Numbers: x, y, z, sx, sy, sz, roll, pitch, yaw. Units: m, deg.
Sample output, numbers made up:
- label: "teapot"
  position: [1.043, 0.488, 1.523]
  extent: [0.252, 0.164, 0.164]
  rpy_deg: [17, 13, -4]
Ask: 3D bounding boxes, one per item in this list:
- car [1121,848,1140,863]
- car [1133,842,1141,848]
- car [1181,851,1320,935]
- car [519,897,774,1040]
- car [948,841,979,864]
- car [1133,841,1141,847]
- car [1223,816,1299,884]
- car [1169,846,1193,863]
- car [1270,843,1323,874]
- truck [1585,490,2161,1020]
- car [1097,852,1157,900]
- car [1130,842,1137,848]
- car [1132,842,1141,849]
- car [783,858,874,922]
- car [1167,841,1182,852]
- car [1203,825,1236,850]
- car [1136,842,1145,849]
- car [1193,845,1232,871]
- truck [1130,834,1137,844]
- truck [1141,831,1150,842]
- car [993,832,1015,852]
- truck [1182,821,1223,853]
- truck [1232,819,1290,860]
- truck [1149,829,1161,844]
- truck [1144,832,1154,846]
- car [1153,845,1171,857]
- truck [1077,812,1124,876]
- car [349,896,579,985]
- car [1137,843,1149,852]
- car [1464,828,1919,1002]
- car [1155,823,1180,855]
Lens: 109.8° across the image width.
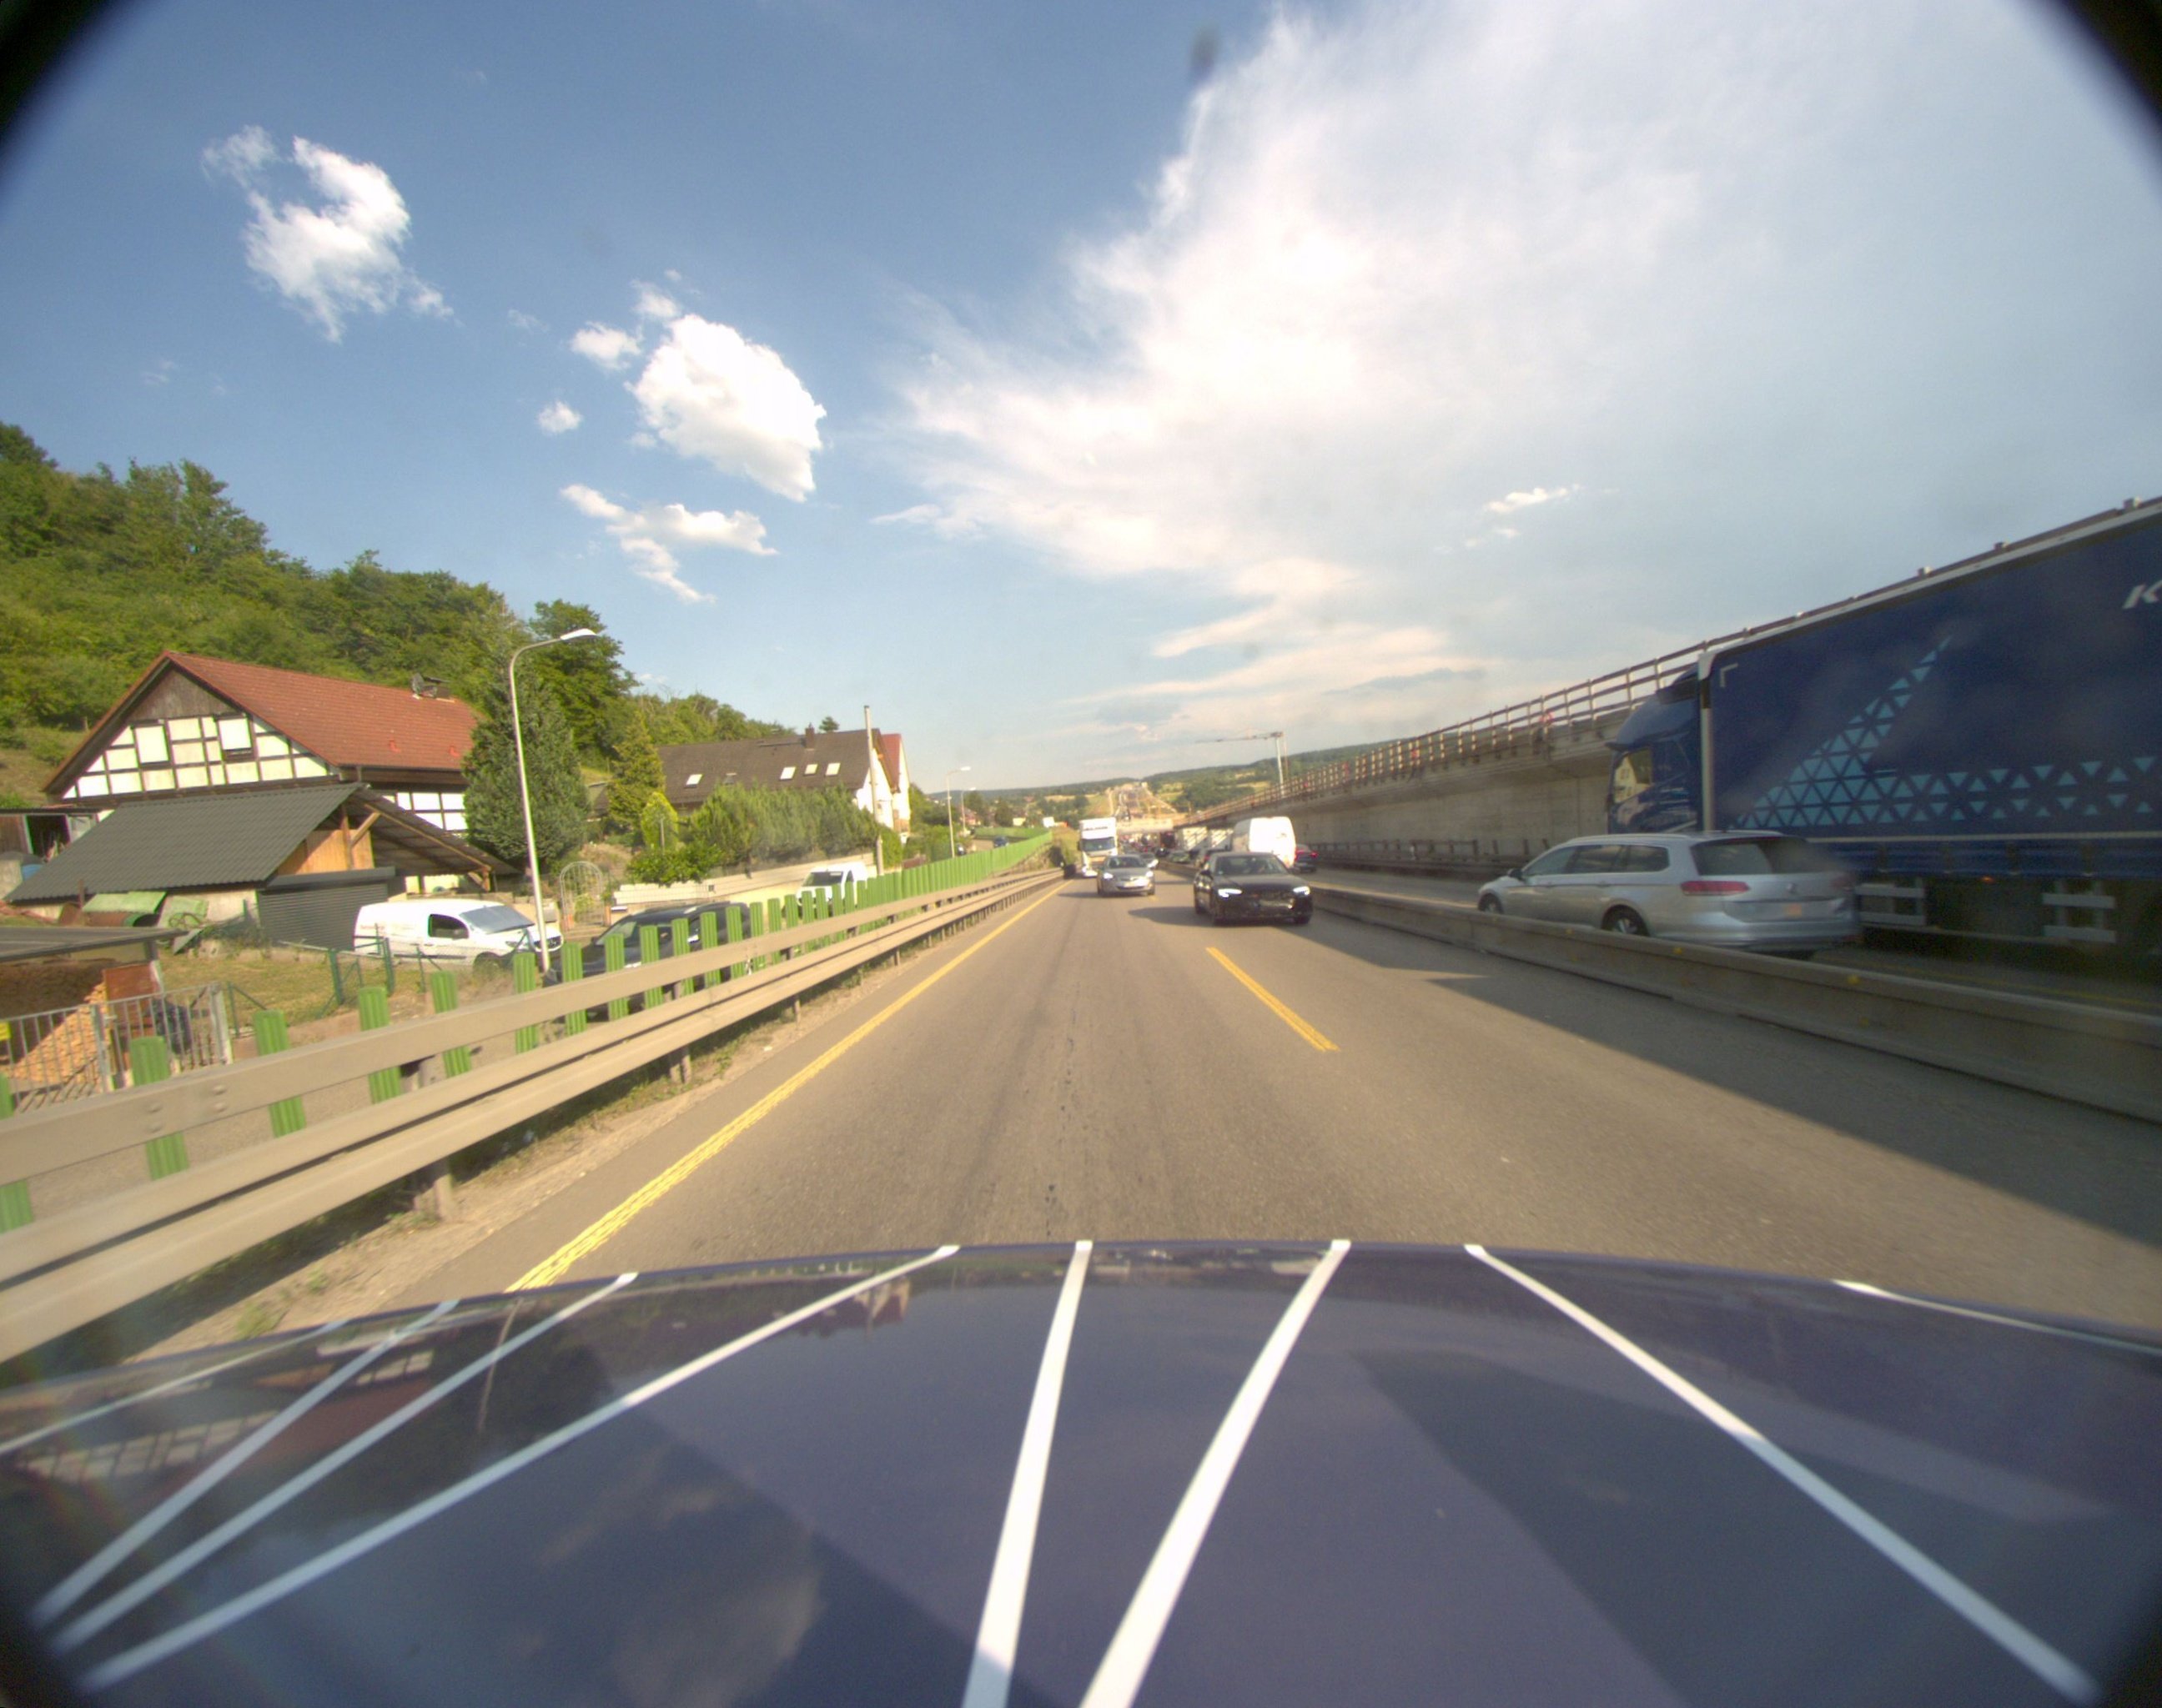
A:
- label: "car"
  position: [5.706, 0.185, 88.063]
  extent: [1.998, 1.565, 4.000]
  rpy_deg: [-2, 1, 2]
- label: "car"
  position: [14.067, -2.199, 190.349]
  extent: [1.712, 1.312, 3.664]
  rpy_deg: [-6, 1, 2]
- label: "car"
  position: [3.476, 0.705, 16.627]
  extent: [1.945, 1.472, 5.222]
  rpy_deg: [-2, 0, 1]
- label: "car"
  position: [-7.862, 1.970, 14.394]
  extent: [1.866, 1.775, 4.497]
  rpy_deg: [-3, 3, 5]
- label: "car"
  position: [-10.577, -0.156, 68.454]
  extent: [1.998, 2.002, 4.000]
  rpy_deg: [-2, 1, 1]
- label: "car"
  position: [13.609, -2.349, 183.707]
  extent: [1.712, 1.312, 3.664]
  rpy_deg: [-6, 1, 2]
- label: "car"
  position: [7.631, -0.185, 32.762]
  extent: [2.001, 2.601, 5.613]
  rpy_deg: [-2, 0, 1]
- label: "car"
  position: [8.969, 0.054, 68.454]
  extent: [1.712, 1.312, 3.664]
  rpy_deg: [-6, 1, 2]
- label: "car"
  position: [11.051, 0.187, 39.262]
  extent: [1.712, 1.379, 4.000]
  rpy_deg: [-6, 1, 4]
- label: "truck"
  position: [10.090, -0.853, 7.783]
  extent: [2.823, 4.234, 10.579]
  rpy_deg: [-2, 1, 1]
- label: "car"
  position: [1.532, 0.710, 26.716]
  extent: [1.810, 1.478, 4.118]
  rpy_deg: [-2, 1, 0]
- label: "car"
  position: [14.181, -2.350, 204.709]
  extent: [1.712, 1.312, 3.664]
  rpy_deg: [-6, 1, 2]
- label: "car"
  position: [12.894, -1.982, 176.493]
  extent: [1.712, 1.312, 3.664]
  rpy_deg: [-6, 1, 2]
- label: "car"
  position: [-9.384, 1.276, 28.635]
  extent: [1.824, 1.931, 4.283]
  rpy_deg: [-4, 2, 0]
- label: "car"
  position: [13.084, -1.067, 106.776]
  extent: [1.712, 1.312, 3.664]
  rpy_deg: [-6, 1, 2]
- label: "car"
  position: [12.484, -1.462, 68.595]
  extent: [2.214, 2.011, 3.973]
  rpy_deg: [-6, 1, 2]
- label: "car"
  position: [12.632, -1.781, 161.035]
  extent: [1.712, 1.312, 3.664]
  rpy_deg: [-6, 1, 2]
- label: "car"
  position: [7.812, 0.188, 45.444]
  extent: [1.712, 1.312, 3.664]
  rpy_deg: [-6, 1, 2]
- label: "truck"
  position: [17.065, -4.759, 247.946]
  extent: [1.998, 3.154, 5.763]
  rpy_deg: [-2, 1, 1]
- label: "truck"
  position: [19.745, -5.281, 232.775]
  extent: [1.998, 3.154, 5.763]
  rpy_deg: [-2, 1, 1]
- label: "car"
  position: [-8.279, -1.283, 81.815]
  extent: [1.999, 2.002, 3.999]
  rpy_deg: [-2, 1, -2]
- label: "truck"
  position: [12.842, -1.820, 80.849]
  extent: [3.242, 3.127, 6.488]
  rpy_deg: [-2, 1, 0]
- label: "truck"
  position: [11.693, -0.946, 49.843]
  extent: [2.280, 2.288, 6.063]
  rpy_deg: [-6, 1, 2]
- label: "truck"
  position: [15.597, -3.692, 160.045]
  extent: [1.998, 3.154, 5.763]
  rpy_deg: [-2, 1, 1]
- label: "truck"
  position: [16.864, -3.702, 187.766]
  extent: [1.998, 3.154, 5.763]
  rpy_deg: [-2, 1, 1]
- label: "car"
  position: [9.976, -0.368, 93.748]
  extent: [1.712, 1.312, 3.664]
  rpy_deg: [-6, 1, 2]
- label: "truck"
  position: [1.472, -0.763, 56.274]
  extent: [2.892, 4.059, 13.893]
  rpy_deg: [-2, 1, 2]
- label: "car"
  position: [-14.571, 2.005, 18.093]
  extent: [3.996, 1.829, 1.749]
  rpy_deg: [-1, 3, 2]
- label: "car"
  position: [10.614, -1.089, 129.941]
  extent: [1.712, 1.312, 3.664]
  rpy_deg: [-6, 1, 2]
- label: "car"
  position: [6.617, 0.533, 9.088]
  extent: [1.746, 1.432, 4.591]
  rpy_deg: [-4, 0, 1]
- label: "car"
  position: [15.380, -2.605, 136.206]
  extent: [3.327, 5.356, 14.299]
  rpy_deg: [-2, 1, 3]
